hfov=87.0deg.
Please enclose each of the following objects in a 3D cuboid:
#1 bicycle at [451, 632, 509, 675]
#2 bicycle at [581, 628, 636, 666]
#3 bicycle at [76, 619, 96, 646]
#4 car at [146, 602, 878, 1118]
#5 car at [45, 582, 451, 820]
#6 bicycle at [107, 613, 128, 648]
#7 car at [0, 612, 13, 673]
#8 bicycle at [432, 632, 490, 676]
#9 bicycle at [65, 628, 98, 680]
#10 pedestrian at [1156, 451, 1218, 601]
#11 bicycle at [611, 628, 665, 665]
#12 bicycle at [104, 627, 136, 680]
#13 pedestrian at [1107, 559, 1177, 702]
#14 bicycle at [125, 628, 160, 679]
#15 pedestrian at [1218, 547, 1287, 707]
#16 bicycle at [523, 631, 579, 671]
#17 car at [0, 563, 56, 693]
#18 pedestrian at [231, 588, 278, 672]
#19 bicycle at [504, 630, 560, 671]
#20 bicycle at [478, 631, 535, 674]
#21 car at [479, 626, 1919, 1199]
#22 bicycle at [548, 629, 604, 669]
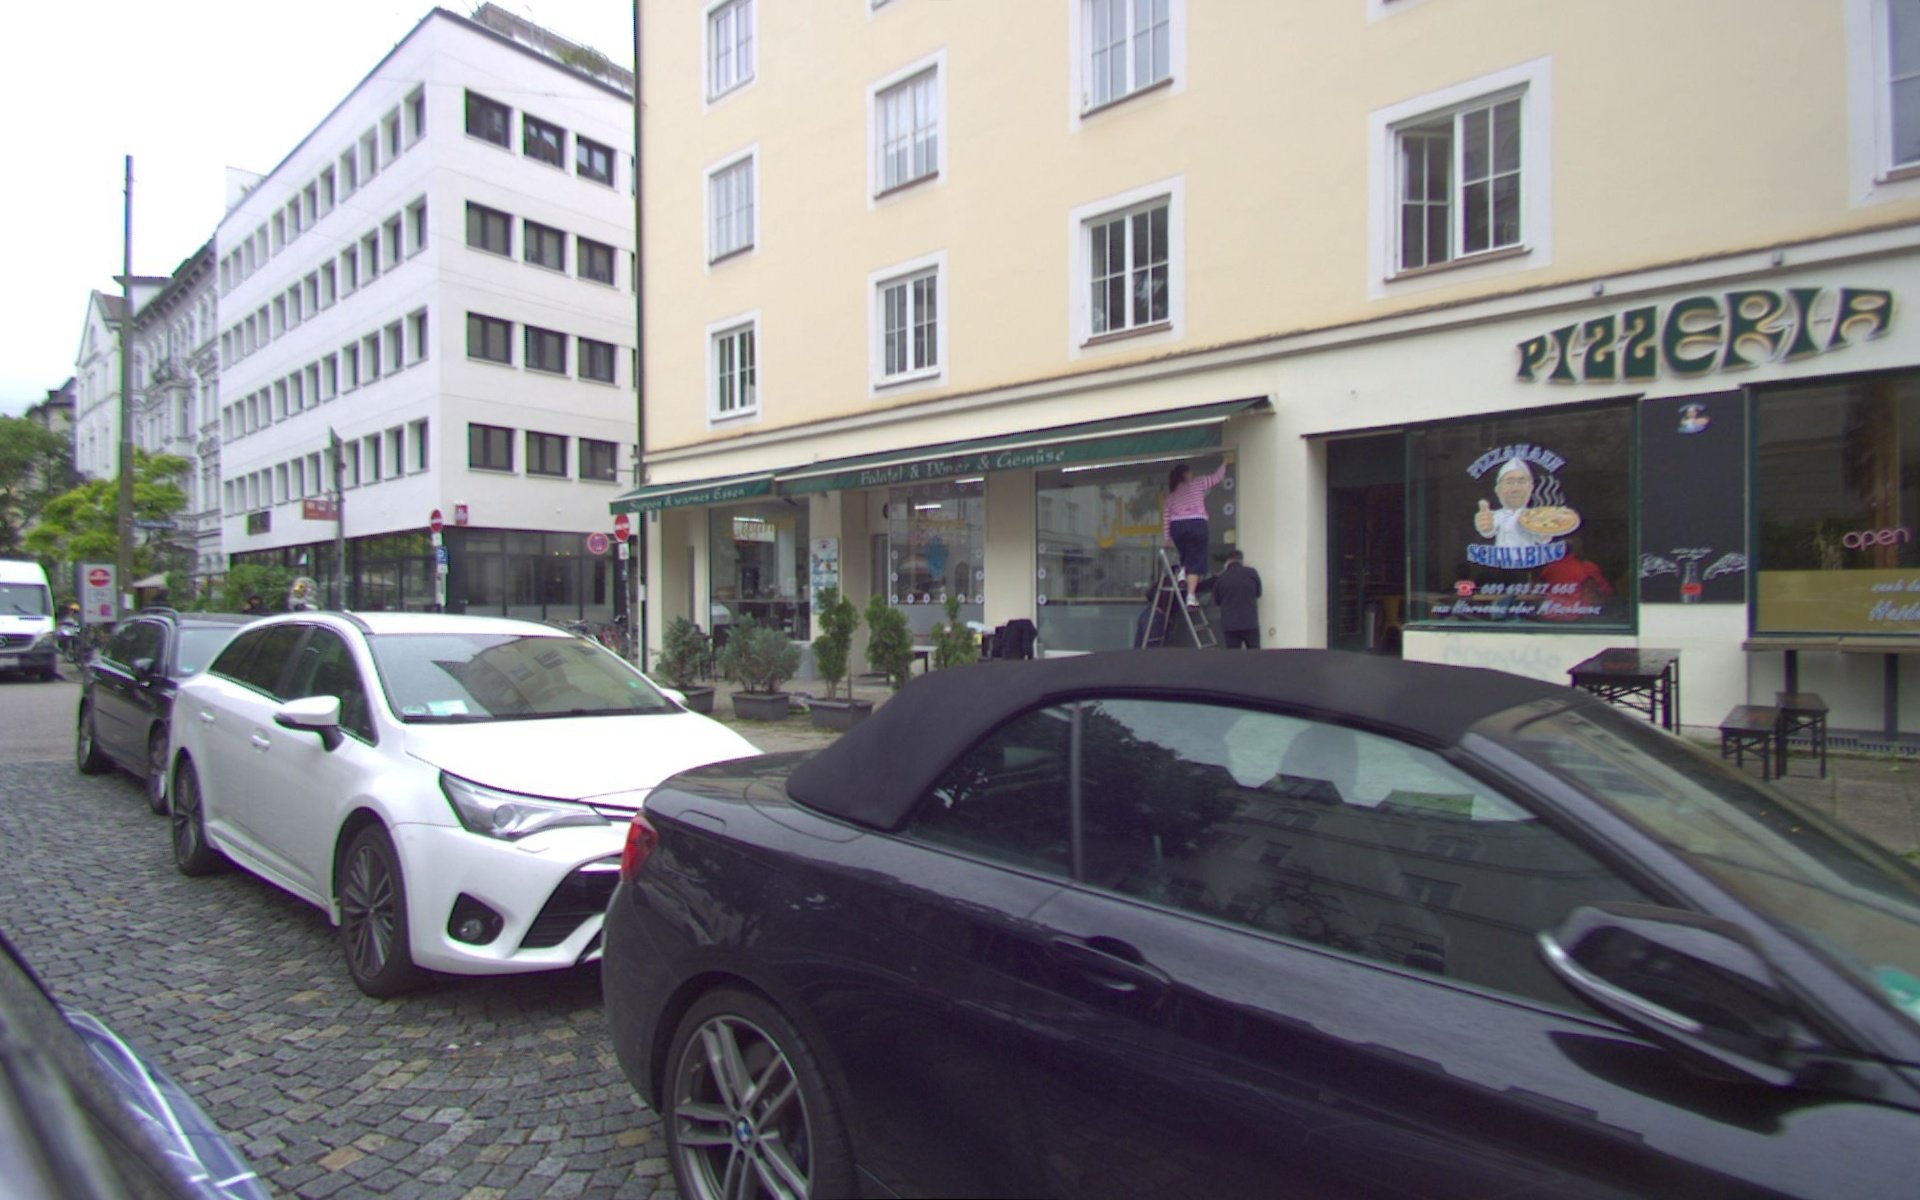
[{"bbox_3d":[-11.651,1.288,24.552,1.891,0.975,0.394,0,1,36],"label":"bicycle"},{"bbox_3d":[-9.609,1.280,27.655,1.891,0.975,0.394,0,1,36],"label":"bicycle"},{"bbox_3d":[-35.088,1.304,40.607,1.683,1.086,0.255,-2,0,38],"label":"bicycle"},{"bbox_3d":[-2.639,0.809,5.279,4.539,1.548,1.755,0,1,42],"label":"car"},{"bbox_3d":[-6.567,0.680,9.098,4.744,1.598,1.833,0,1,40],"label":"car"},{"bbox_3d":[-29.649,1.058,35.606,1.911,1.183,0.356,0,1,44],"label":"bicycle"},{"bbox_3d":[-25.622,1.074,25.811,3.978,1.493,1.645,0,1,40],"label":"car"},{"bbox_3d":[-11.926,1.278,24.149,1.891,0.975,0.394,0,1,36],"label":"bicycle"},{"bbox_3d":[-19.748,1.189,22.748,1.814,1.099,0.283,-1,0,40],"label":"bicycle"},{"bbox_3d":[2.588,-0.826,11.546,0.472,1.655,0.497,-1,1,-44],"label":"pedestrian"},{"bbox_3d":[-9.047,1.284,28.439,1.891,0.975,0.394,0,1,36],"label":"bicycle"},{"bbox_3d":[-19.112,1.206,23.020,1.806,1.135,0.252,0,1,41],"label":"bicycle"},{"bbox_3d":[2.181,0.352,12.127,0.629,1.655,0.516,0,1,41],"label":"pedestrian"},{"bbox_3d":[-18.851,1.206,23.322,1.814,1.099,0.283,0,1,40],"label":"bicycle"},{"bbox_3d":[3.229,0.286,11.182,0.574,1.703,0.456,0,1,42],"label":"pedestrian"},{"bbox_3d":[-10.574,1.299,26.141,1.891,0.975,0.394,0,1,36],"label":"bicycle"},{"bbox_3d":[-21.395,0.565,22.110,5.795,2.593,1.955,0,-1,44],"label":"car"},{"bbox_3d":[-15.982,0.659,22.924,0.812,1.854,0.608,0,0,35],"label":"pedestrian"},{"bbox_3d":[-10.881,1.271,25.700,1.891,0.975,0.394,0,1,36],"label":"bicycle"},{"bbox_3d":[-11.271,1.288,25.133,1.891,0.975,0.394,0,1,36],"label":"bicycle"},{"bbox_3d":[0.944,0.790,2.059,4.387,1.370,1.756,0,-3,40],"label":"car"},{"bbox_3d":[-10.175,1.287,26.776,1.891,0.975,0.394,0,1,36],"label":"bicycle"}]
